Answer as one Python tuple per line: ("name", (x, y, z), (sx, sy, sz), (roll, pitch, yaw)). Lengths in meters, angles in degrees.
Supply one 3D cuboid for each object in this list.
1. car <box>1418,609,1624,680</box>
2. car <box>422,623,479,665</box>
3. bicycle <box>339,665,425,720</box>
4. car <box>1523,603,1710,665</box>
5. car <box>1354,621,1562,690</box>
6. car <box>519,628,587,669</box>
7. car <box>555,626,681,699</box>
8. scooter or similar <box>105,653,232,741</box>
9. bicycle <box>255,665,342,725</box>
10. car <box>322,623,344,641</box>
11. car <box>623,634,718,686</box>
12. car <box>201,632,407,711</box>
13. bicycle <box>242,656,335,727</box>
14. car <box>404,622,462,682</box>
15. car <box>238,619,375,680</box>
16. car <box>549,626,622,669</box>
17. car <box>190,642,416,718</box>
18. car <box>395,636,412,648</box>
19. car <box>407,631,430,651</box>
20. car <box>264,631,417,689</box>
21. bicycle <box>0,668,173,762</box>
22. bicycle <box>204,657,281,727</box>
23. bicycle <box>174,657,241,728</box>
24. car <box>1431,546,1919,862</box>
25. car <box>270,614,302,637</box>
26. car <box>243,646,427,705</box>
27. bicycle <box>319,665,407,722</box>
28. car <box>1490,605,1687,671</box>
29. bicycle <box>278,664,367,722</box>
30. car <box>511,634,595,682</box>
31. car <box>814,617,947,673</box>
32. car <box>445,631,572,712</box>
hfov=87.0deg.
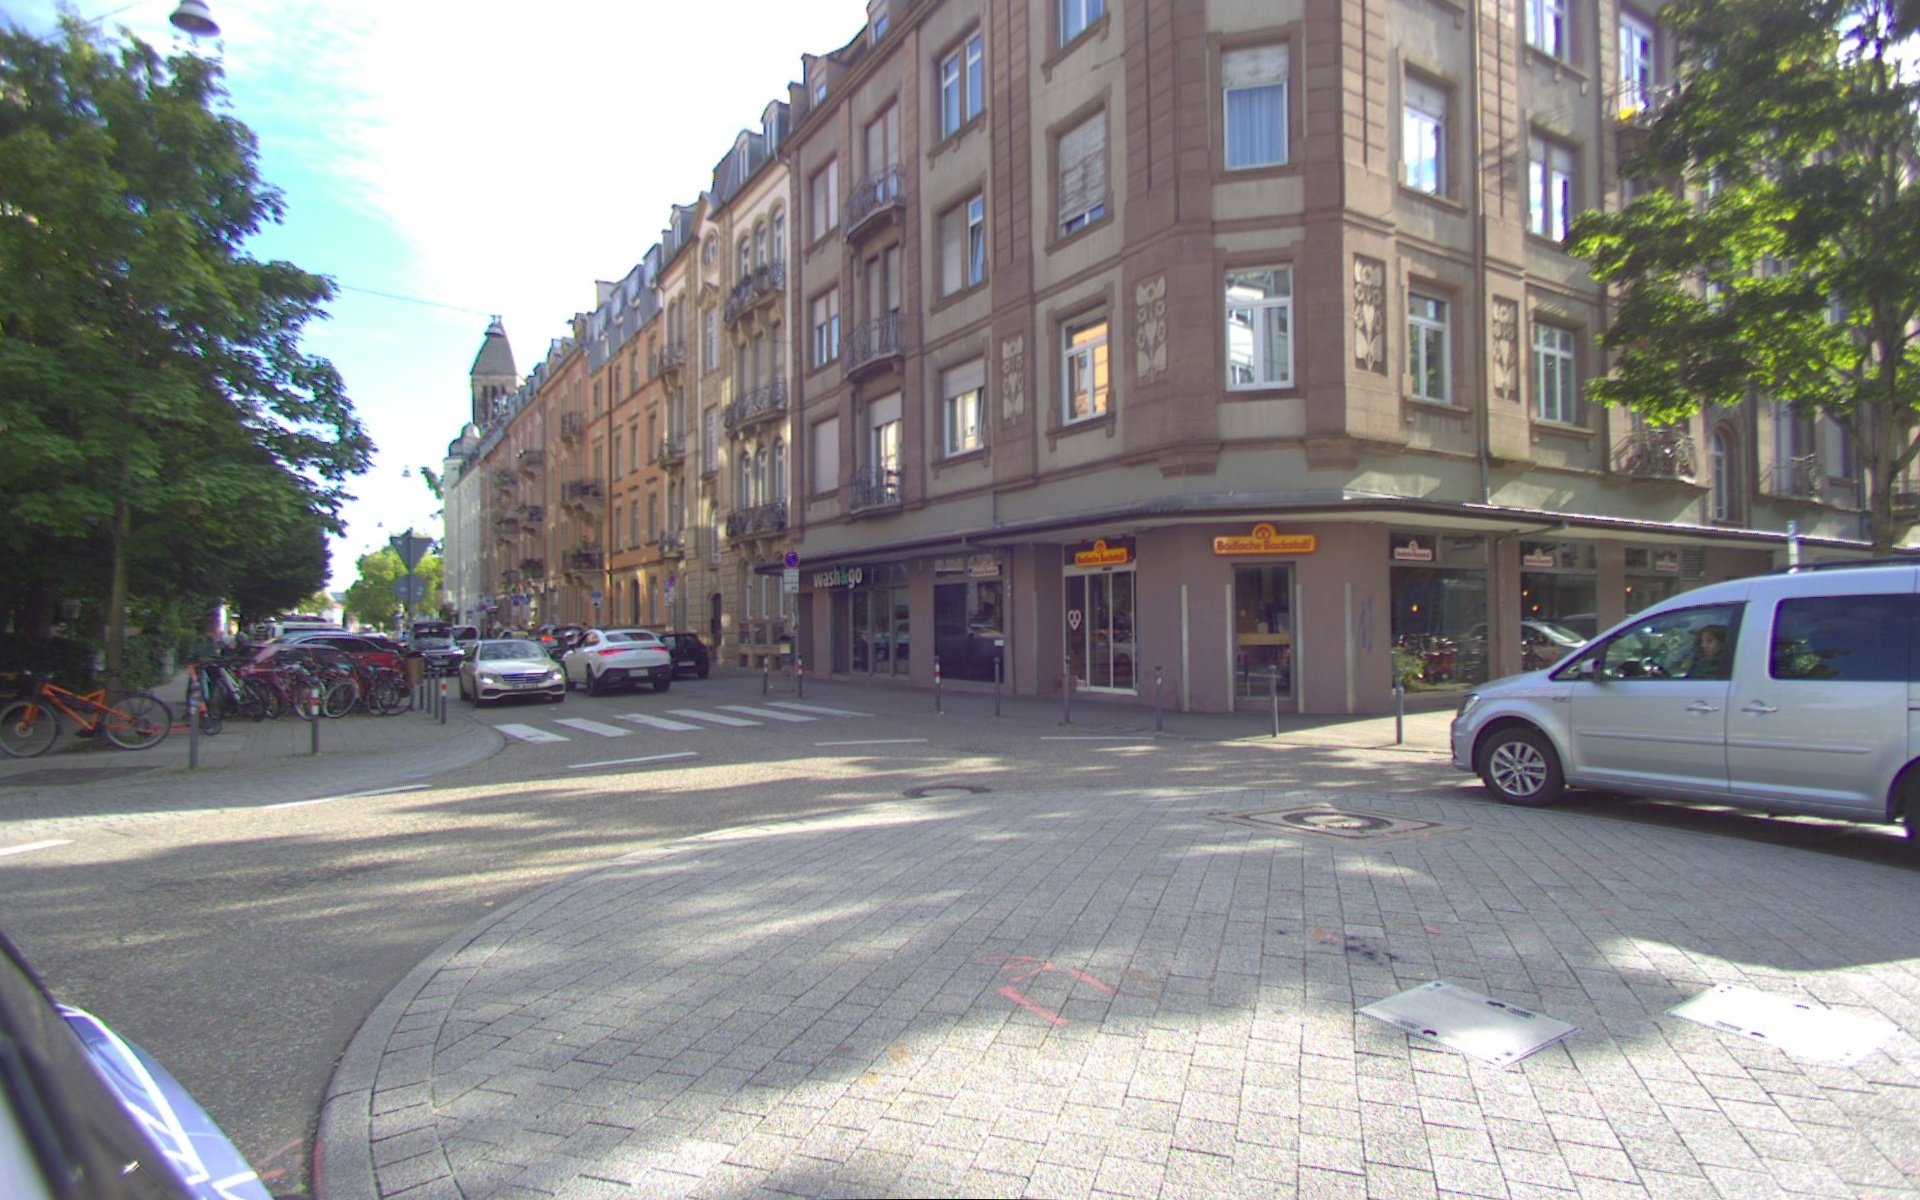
("car", (13.626, 1.072, 24.751), (1.739, 1.563, 4.005), (-1, -1, -42))
("car", (-25.062, 2.132, 49.678), (1.912, 1.894, 4.849), (-1, -1, -34))
("bicycle", (-11.168, 1.767, 19.525), (1.855, 0.993, 0.467), (0, -3, 27))
("car", (18.183, 0.958, 28.160), (1.739, 1.563, 4.005), (-1, -1, -42))
("car", (11.639, 1.277, 23.852), (1.739, 1.441, 4.005), (-1, -1, -42))
("car", (-17.745, 2.082, 43.990), (1.734, 1.610, 4.352), (-1, -1, -35))
("car", (-8.819, 1.553, 25.779), (1.966, 1.647, 4.857), (0, -2, -32))
("scooter or similar", (-11.323, 1.378, 14.511), (1.271, 1.220, 0.558), (1, -4, -14))
("bicycle", (-11.778, 1.669, 18.007), (1.829, 0.993, 0.414), (0, -3, 27))
("car", (-70.374, 3.558, 113.608), (1.966, 1.903, 4.012), (-2, -1, -30))
("car", (-8.786, 1.759, 30.522), (1.696, 1.379, 3.840), (-1, -1, -32))
("car", (-14.693, 1.588, 22.837), (1.509, 1.628, 3.546), (-1, -4, 34))
("bicycle", (-11.675, 1.560, 17.576), (1.829, 1.152, 0.471), (0, -3, 27))
("car", (-19.510, 1.884, 37.366), (1.763, 2.079, 4.012), (0, -2, -30))
("car", (-28.706, 2.148, 44.626), (1.989, 2.441, 4.699), (-3, -1, 25))
("car", (-14.570, 1.832, 39.238), (1.733, 1.508, 4.144), (-1, -1, -33))
("car", (-13.304, 1.596, 20.687), (1.508, 1.391, 3.548), (-1, -4, 32))
("car", (-64.283, 4.866, 116.917), (1.598, 1.389, 3.772), (0, -2, -32))
("car", (-52.908, 4.002, 98.889), (1.698, 1.947, 4.023), (0, -2, -32))
("car", (-18.399, 1.774, 30.178), (1.509, 1.624, 3.546), (-1, -4, 34))
("bicycle", (-10.953, 1.396, 12.544), (1.826, 1.043, 0.685), (1, -2, -33))
("bicycle", (-12.327, 1.553, 17.378), (1.670, 1.109, 0.470), (-1, -3, 33))
("bicycle", (-12.594, 1.526, 16.929), (1.672, 1.109, 0.428), (-1, -3, 38))
("car", (5.824, 0.644, 7.075), (1.803, 1.804, 4.344), (1, -3, -29))
("car", (-54.332, 2.040, 81.564), (1.821, 1.747, 4.008), (-1, -1, -38))
("car", (-15.418, 1.845, 25.123), (1.509, 1.333, 3.546), (-1, -4, 34))
("bicycle", (-11.276, 1.743, 19.099), (1.855, 0.993, 0.467), (0, -3, 27))
("car", (16.330, 1.000, 26.446), (1.739, 1.563, 4.005), (-1, -1, -42))
("bicycle", (-11.718, 1.692, 18.598), (1.855, 0.993, 0.467), (0, -3, 27))
("car", (-13.643, 1.869, 33.812), (1.741, 1.392, 4.463), (-3, 0, -33))
("car", (-2.602, 1.474, 33.608), (3.938, 1.633, 2.003), (-1, -1, -41))
("car", (-10.641, 1.595, 23.633), (1.912, 1.609, 4.849), (-1, -1, -34))
